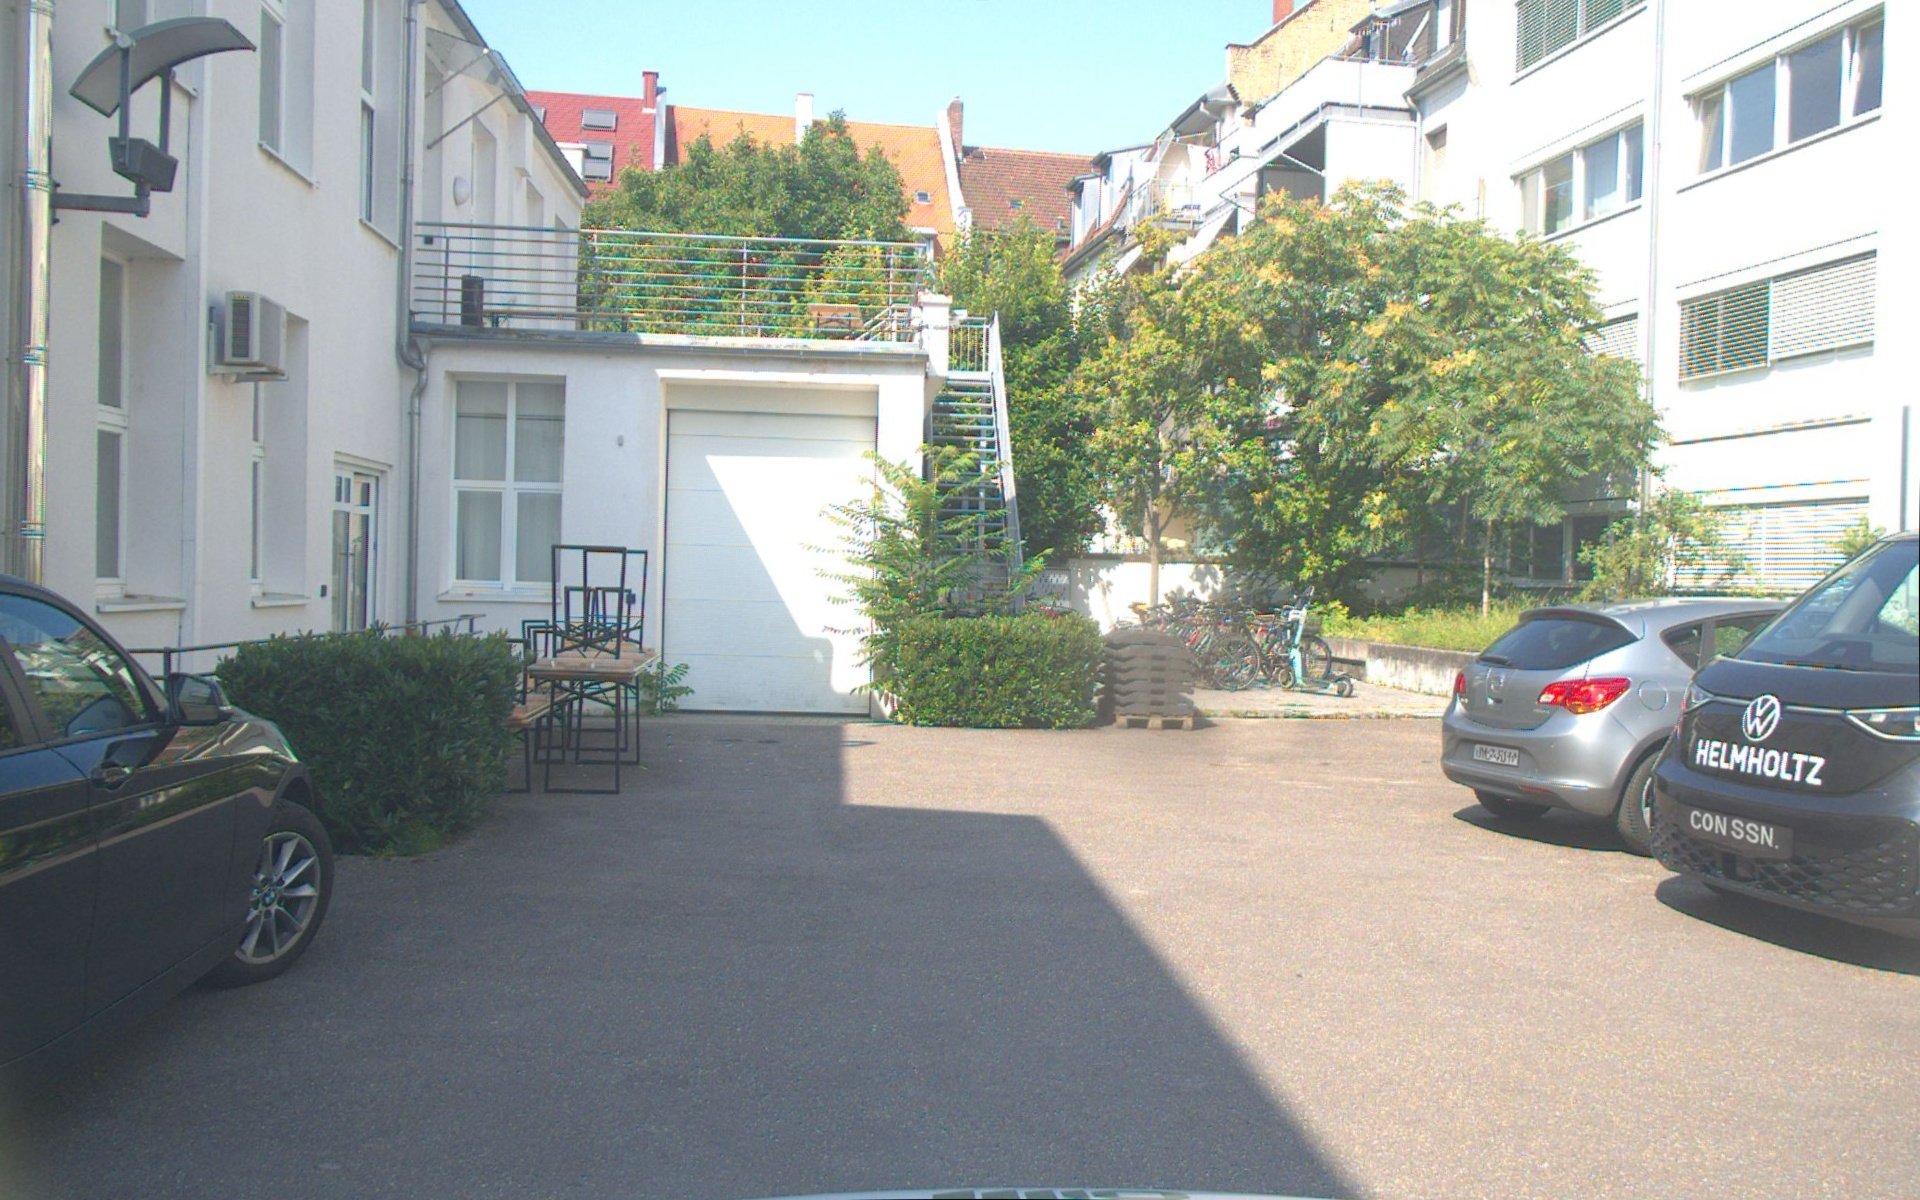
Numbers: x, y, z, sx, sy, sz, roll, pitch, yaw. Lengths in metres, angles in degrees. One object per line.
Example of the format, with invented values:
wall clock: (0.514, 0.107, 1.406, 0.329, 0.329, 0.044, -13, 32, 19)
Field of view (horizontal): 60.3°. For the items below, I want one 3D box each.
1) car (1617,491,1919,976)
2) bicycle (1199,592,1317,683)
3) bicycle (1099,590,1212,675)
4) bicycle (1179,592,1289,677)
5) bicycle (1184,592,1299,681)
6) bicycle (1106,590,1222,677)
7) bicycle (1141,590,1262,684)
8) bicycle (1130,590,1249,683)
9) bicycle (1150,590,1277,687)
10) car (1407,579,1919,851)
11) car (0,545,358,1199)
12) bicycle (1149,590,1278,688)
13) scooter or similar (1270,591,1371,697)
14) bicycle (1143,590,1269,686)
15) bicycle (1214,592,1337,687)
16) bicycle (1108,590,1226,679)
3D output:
car: (5.556, 0.522, 7.653, 4.423, 1.826, 1.877, 1, 0, -14)
bicycle: (4.132, 0.512, 22.980, 1.588, 1.235, 0.424, 0, 1, 9)
bicycle: (2.884, 0.470, 24.404, 1.593, 1.235, 0.423, 0, 1, -9)
bicycle: (4.063, 0.502, 24.580, 1.588, 1.235, 0.424, 0, 1, 8)
bicycle: (3.995, 0.505, 23.547, 1.588, 1.235, 0.424, 0, 1, 8)
bicycle: (2.931, 0.475, 23.804, 1.593, 1.235, 0.423, 0, 1, -10)
bicycle: (3.226, 0.491, 22.147, 1.588, 1.235, 0.327, 0, 1, 6)
bicycle: (3.124, 0.486, 22.505, 1.588, 1.235, 0.327, 0, 1, 9)
bicycle: (3.272, 0.497, 21.405, 1.590, 1.235, 0.327, 0, 1, -3)
car: (5.024, 0.655, 10.504, 3.865, 1.508, 1.768, 1, 0, -14)
car: (-2.798, 0.607, 3.857, 1.656, 1.484, 3.918, 1, 0, -6)
bicycle: (3.230, 0.497, 21.079, 1.590, 1.235, 0.327, 0, 1, -3)
scooter or similar: (4.549, 0.540, 20.935, 0.375, 1.283, 1.332, 0, 1, -36)
bicycle: (3.223, 0.494, 21.695, 1.590, 1.235, 0.327, 0, 1, -3)
bicycle: (4.215, 0.519, 22.124, 1.588, 1.235, 0.327, 0, 1, 11)
bicycle: (2.893, 0.477, 23.165, 1.591, 1.235, 0.423, 0, 1, -5)
